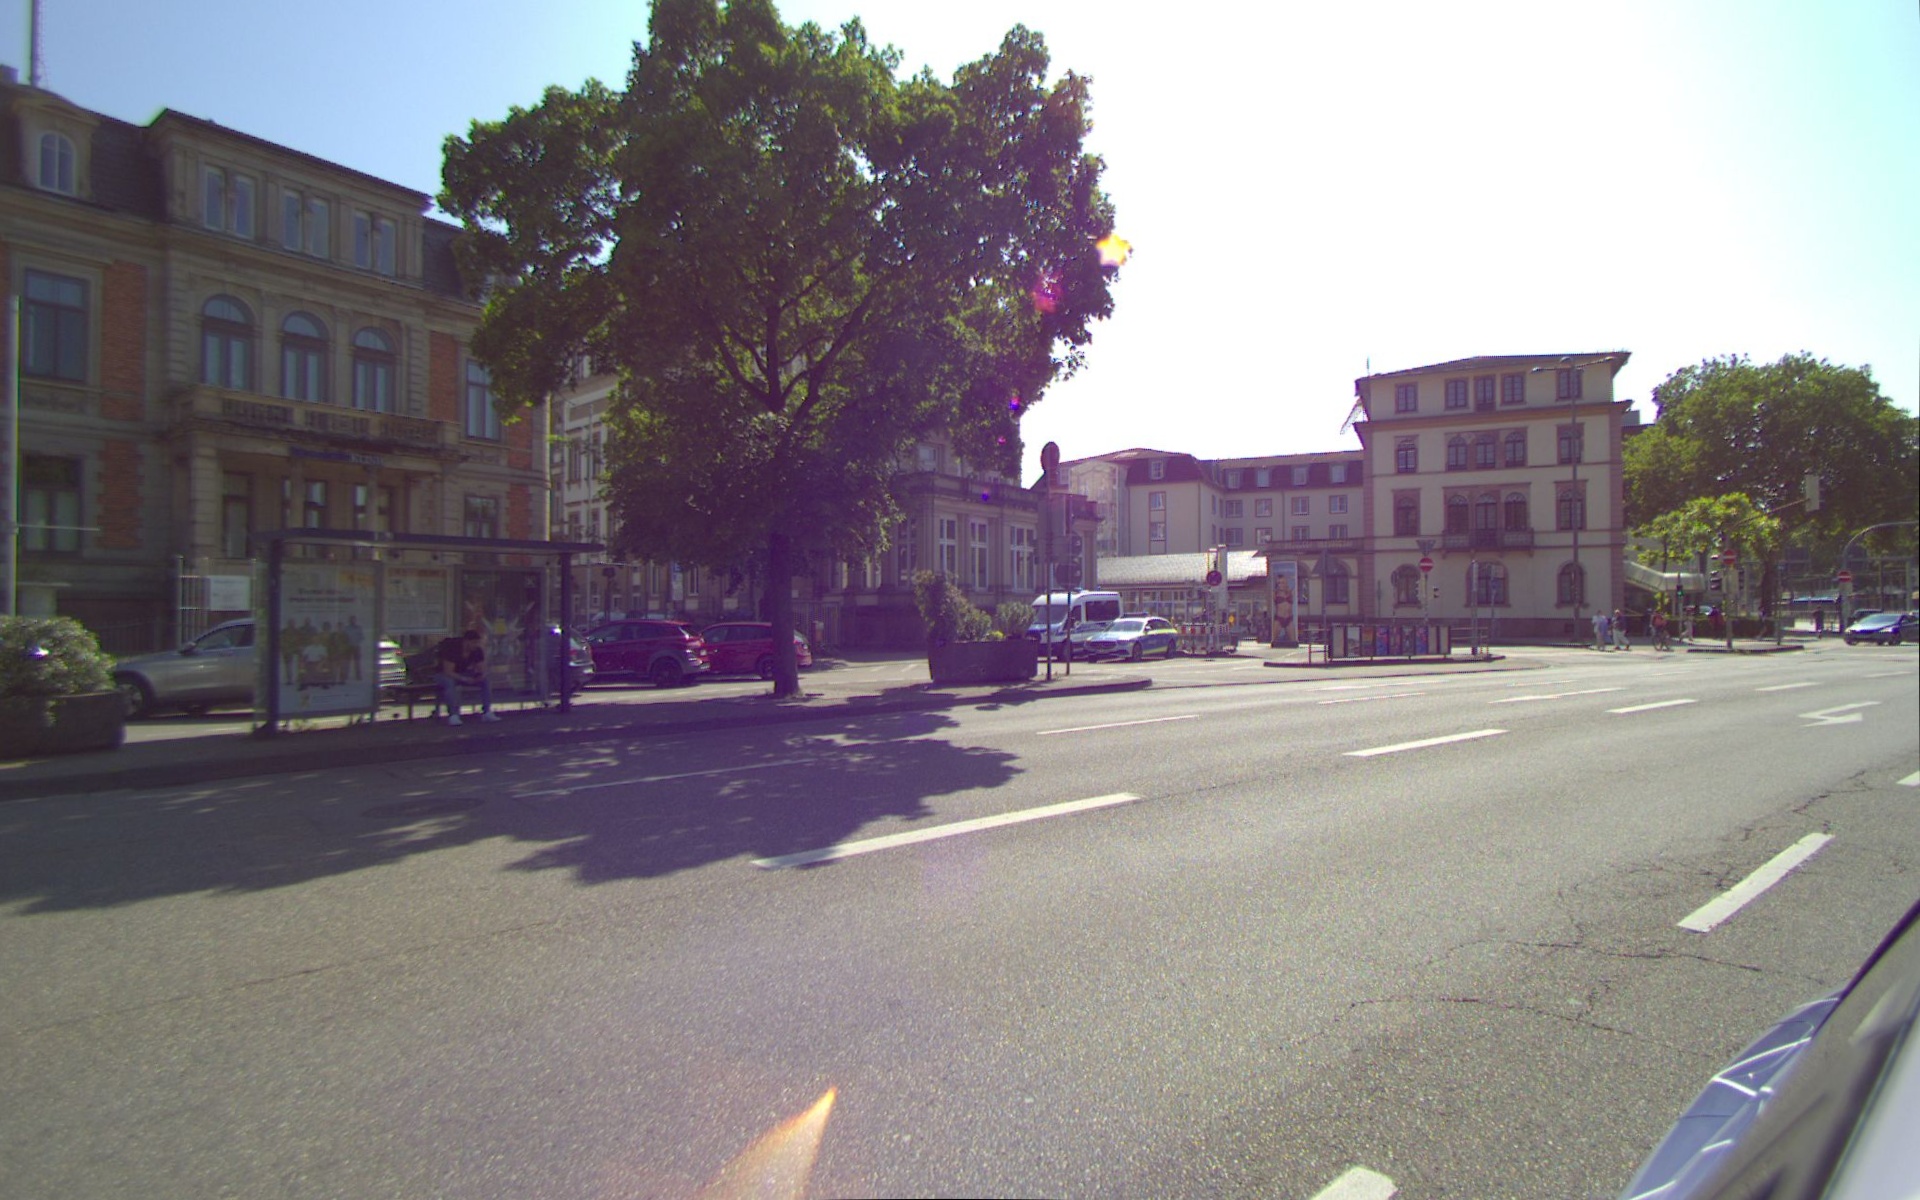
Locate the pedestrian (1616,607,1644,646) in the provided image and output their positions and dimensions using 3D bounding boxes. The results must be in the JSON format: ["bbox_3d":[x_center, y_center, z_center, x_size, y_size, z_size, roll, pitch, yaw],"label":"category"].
[{"bbox_3d":[27.559,1.095,41.603,0.815,1.592,0.771,1,-2,-44],"label":"pedestrian"}]

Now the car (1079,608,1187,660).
[{"bbox_3d":[6.065,1.127,34.968,1.810,1.647,4.818,-1,-1,35],"label":"car"}]

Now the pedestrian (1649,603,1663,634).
[{"bbox_3d":[37.753,1.000,54.913,0.530,1.670,0.667,-1,-1,29],"label":"pedestrian"}]

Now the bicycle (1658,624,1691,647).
[{"bbox_3d":[28.476,1.411,40.310,1.713,0.866,0.593,0,-1,-39],"label":"bicycle"}]

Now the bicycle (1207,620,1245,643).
[{"bbox_3d":[13.230,1.548,50.323,1.815,1.113,0.497,0,-1,45],"label":"bicycle"}]

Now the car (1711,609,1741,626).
[{"bbox_3d":[63.389,1.462,83.776,1.578,1.339,3.540,-1,-1,31],"label":"car"}]

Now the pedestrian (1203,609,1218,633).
[{"bbox_3d":[17.050,1.404,68.792,0.707,1.624,0.723,1,-2,-42],"label":"pedestrian"}]

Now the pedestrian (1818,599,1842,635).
[{"bbox_3d":[46.478,0.907,54.093,0.716,1.869,0.591,0,-1,4],"label":"pedestrian"}]

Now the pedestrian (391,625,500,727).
[{"bbox_3d":[-6.508,0.932,12.811,1.011,1.213,0.785,-1,-1,25],"label":"pedestrian"}]

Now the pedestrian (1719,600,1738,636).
[{"bbox_3d":[40.140,0.941,52.857,0.721,1.828,0.645,-1,-1,33],"label":"pedestrian"}]

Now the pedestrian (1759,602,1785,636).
[{"bbox_3d":[41.412,0.980,51.636,0.835,1.717,0.738,-1,-1,25],"label":"pedestrian"}]

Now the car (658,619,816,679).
[{"bbox_3d":[-5.569,1.217,25.601,3.630,1.436,1.749,-1,-1,0],"label":"car"}]

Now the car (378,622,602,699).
[{"bbox_3d":[-9.314,1.183,20.242,3.748,1.435,1.605,-1,-1,0],"label":"car"}]

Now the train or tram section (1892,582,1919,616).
[{"bbox_3d":[96.397,-0.133,100.784,2.706,3.309,8.660,-1,-1,25],"label":"train or tram section"}]

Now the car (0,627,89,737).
[{"bbox_3d":[-14.203,1.166,14.550,2.241,1.502,1.203,0,-1,-10],"label":"car"}]

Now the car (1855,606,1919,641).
[{"bbox_3d":[41.841,1.007,45.122,3.894,1.470,1.794,0,0,-31],"label":"car"}]

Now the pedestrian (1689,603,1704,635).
[{"bbox_3d":[38.373,1.002,52.729,0.530,1.670,0.574,-1,-1,29],"label":"pedestrian"}]

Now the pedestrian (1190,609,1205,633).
[{"bbox_3d":[16.057,1.409,68.438,0.707,1.624,0.723,1,-2,-43],"label":"pedestrian"}]

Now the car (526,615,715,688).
[{"bbox_3d":[-7.747,1.155,23.340,3.803,1.595,1.750,-1,-1,0],"label":"car"}]

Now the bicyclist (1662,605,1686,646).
[{"bbox_3d":[28.387,1.019,40.245,0.672,1.627,0.593,1,-2,-38],"label":"bicyclist"}]

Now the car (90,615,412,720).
[{"bbox_3d":[-11.951,1.106,17.306,4.230,1.650,1.715,0,-1,-5],"label":"car"}]

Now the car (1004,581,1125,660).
[{"bbox_3d":[3.864,0.727,36.561,1.988,2.637,5.248,-1,-1,36],"label":"car"}]

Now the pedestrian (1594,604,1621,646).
[{"bbox_3d":[26.594,1.026,41.560,0.816,1.681,0.751,1,-2,-45],"label":"pedestrian"}]
